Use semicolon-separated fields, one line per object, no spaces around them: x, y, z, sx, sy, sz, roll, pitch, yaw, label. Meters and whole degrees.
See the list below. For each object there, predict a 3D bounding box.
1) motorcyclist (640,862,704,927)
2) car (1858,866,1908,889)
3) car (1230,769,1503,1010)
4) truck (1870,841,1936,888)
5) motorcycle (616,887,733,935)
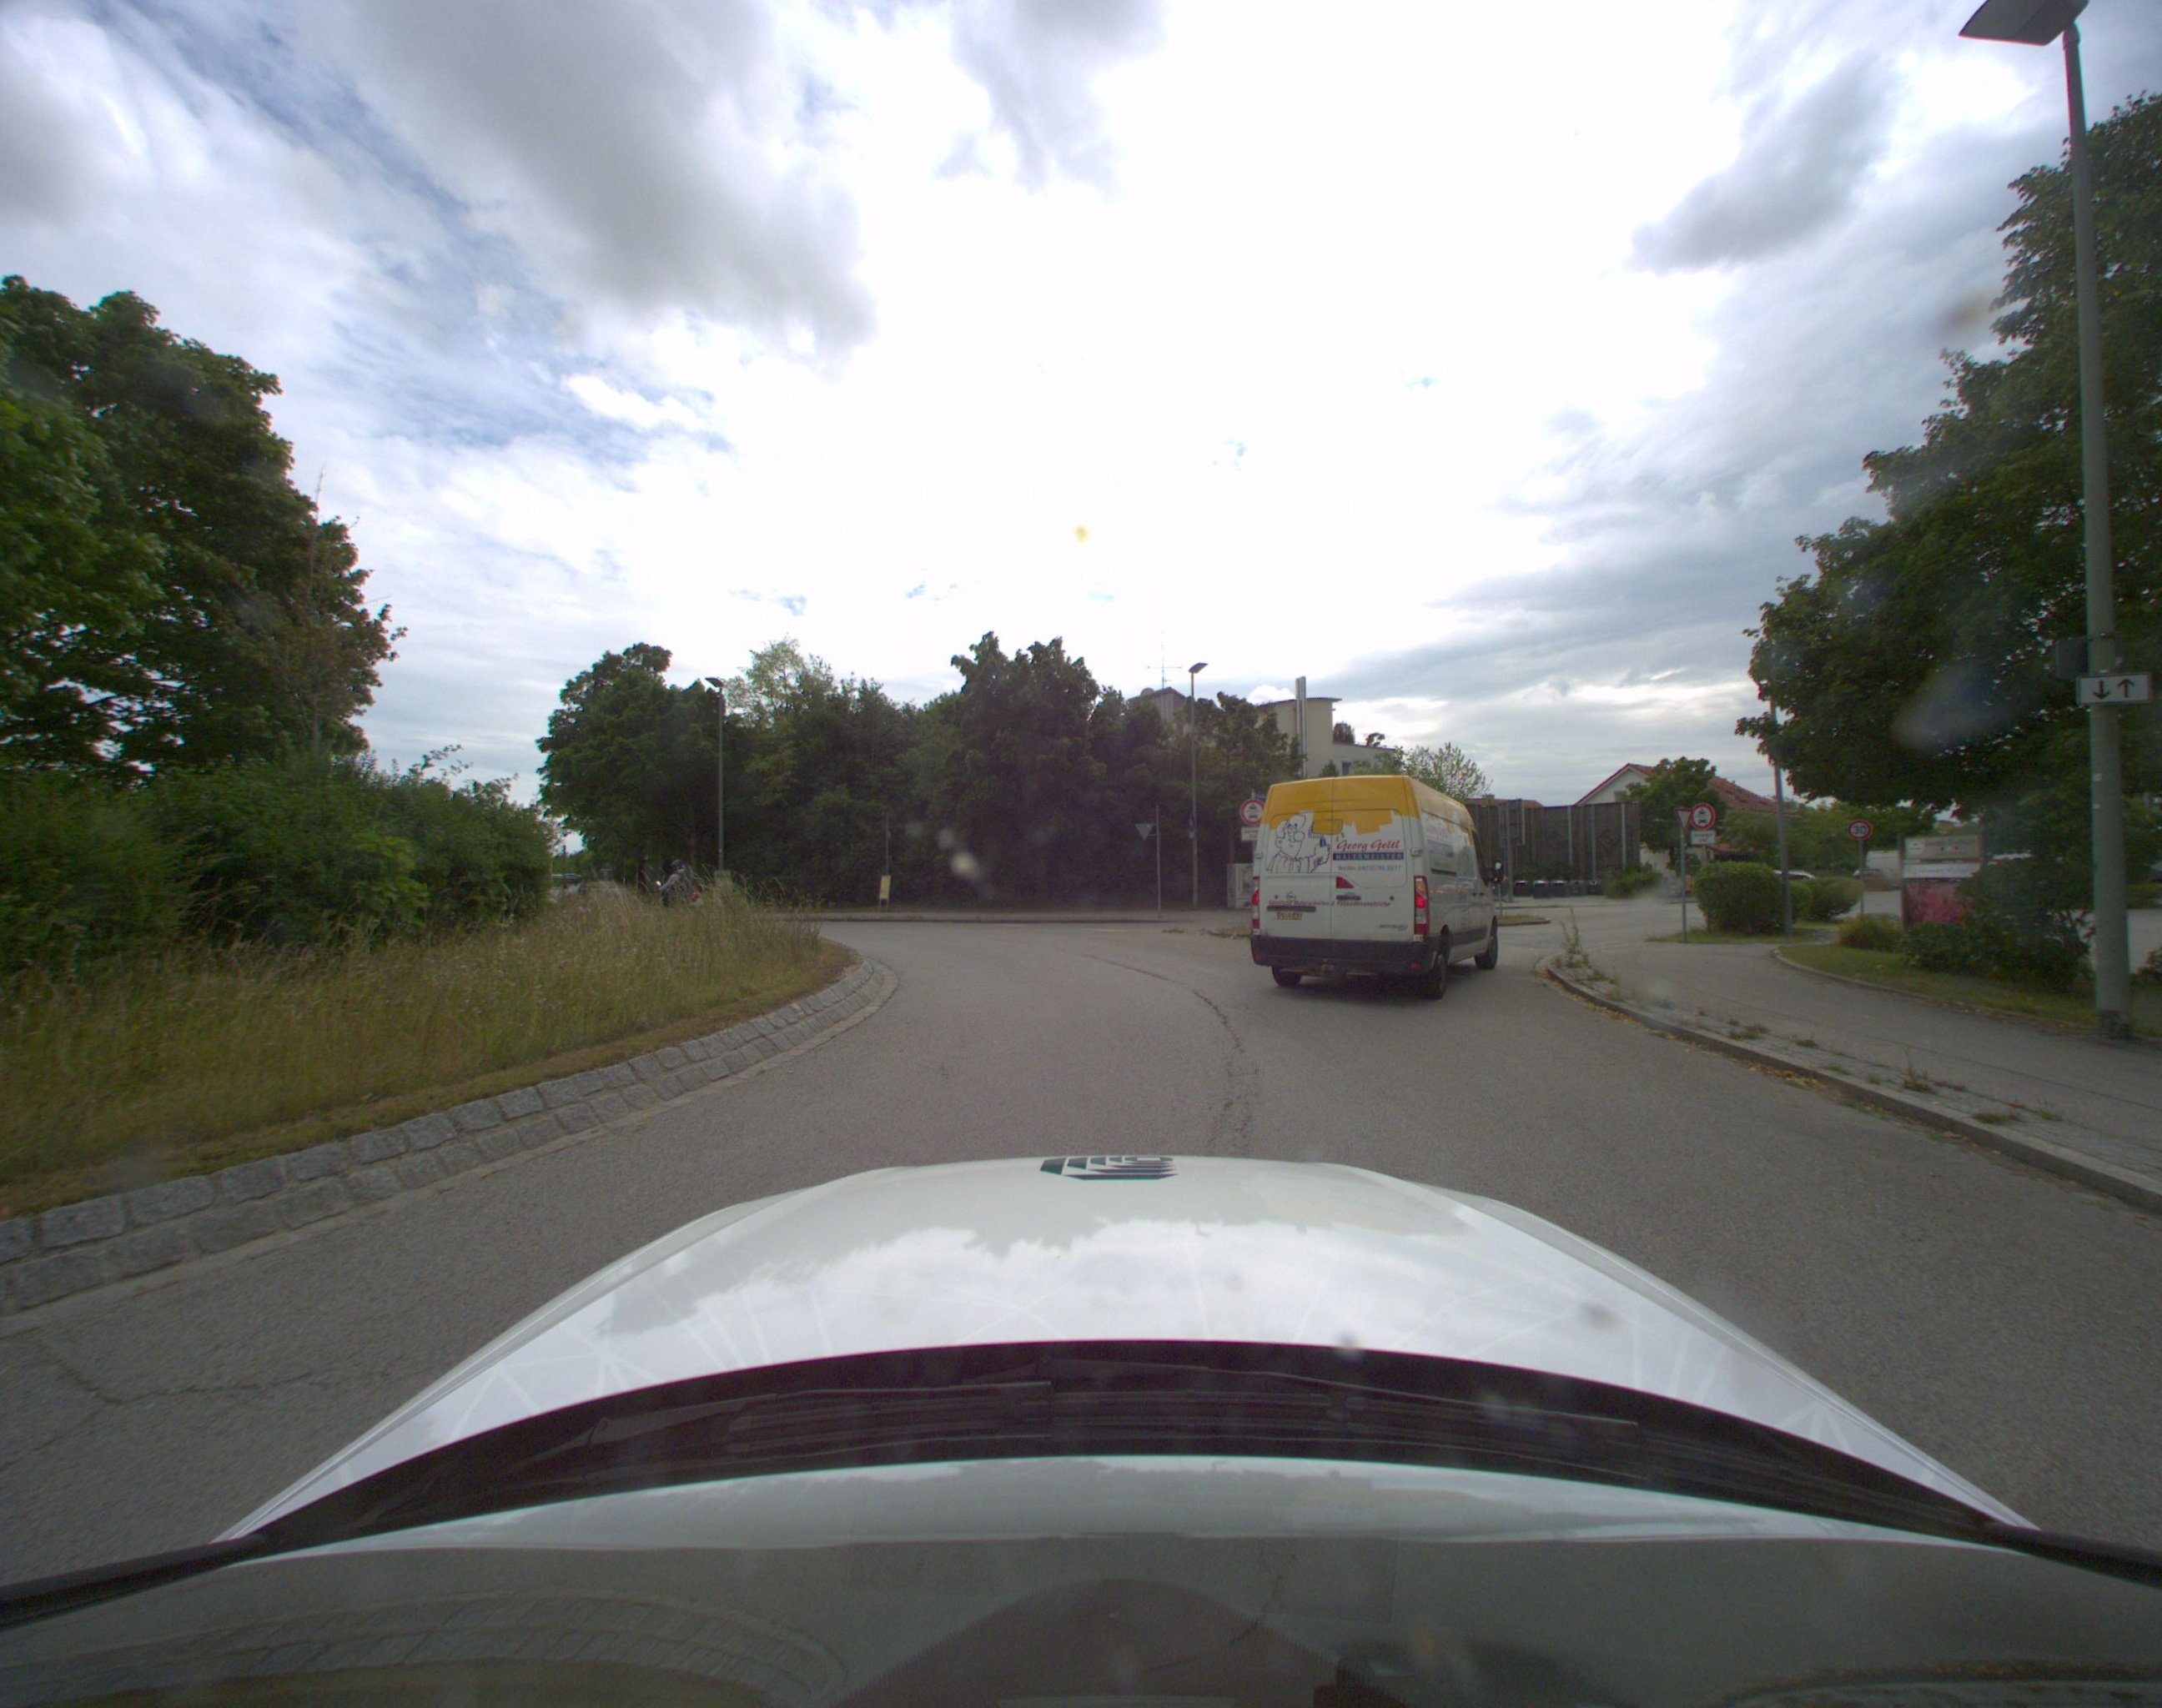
-10.570;1.040;21.090;1.181;1.624;0.865;-1;-1;4;motorcyclist
50.998;1.476;51.784;3.524;1.380;1.526;0;-3;-33;car
4.183;0.427;11.131;2.141;2.452;5.476;0;-2;35;car
56.446;0.757;55.925;5.431;3.077;2.146;2;-3;-34;truck
-10.513;1.459;21.110;2.600;1.158;0.900;-1;-1;3;motorcycle
